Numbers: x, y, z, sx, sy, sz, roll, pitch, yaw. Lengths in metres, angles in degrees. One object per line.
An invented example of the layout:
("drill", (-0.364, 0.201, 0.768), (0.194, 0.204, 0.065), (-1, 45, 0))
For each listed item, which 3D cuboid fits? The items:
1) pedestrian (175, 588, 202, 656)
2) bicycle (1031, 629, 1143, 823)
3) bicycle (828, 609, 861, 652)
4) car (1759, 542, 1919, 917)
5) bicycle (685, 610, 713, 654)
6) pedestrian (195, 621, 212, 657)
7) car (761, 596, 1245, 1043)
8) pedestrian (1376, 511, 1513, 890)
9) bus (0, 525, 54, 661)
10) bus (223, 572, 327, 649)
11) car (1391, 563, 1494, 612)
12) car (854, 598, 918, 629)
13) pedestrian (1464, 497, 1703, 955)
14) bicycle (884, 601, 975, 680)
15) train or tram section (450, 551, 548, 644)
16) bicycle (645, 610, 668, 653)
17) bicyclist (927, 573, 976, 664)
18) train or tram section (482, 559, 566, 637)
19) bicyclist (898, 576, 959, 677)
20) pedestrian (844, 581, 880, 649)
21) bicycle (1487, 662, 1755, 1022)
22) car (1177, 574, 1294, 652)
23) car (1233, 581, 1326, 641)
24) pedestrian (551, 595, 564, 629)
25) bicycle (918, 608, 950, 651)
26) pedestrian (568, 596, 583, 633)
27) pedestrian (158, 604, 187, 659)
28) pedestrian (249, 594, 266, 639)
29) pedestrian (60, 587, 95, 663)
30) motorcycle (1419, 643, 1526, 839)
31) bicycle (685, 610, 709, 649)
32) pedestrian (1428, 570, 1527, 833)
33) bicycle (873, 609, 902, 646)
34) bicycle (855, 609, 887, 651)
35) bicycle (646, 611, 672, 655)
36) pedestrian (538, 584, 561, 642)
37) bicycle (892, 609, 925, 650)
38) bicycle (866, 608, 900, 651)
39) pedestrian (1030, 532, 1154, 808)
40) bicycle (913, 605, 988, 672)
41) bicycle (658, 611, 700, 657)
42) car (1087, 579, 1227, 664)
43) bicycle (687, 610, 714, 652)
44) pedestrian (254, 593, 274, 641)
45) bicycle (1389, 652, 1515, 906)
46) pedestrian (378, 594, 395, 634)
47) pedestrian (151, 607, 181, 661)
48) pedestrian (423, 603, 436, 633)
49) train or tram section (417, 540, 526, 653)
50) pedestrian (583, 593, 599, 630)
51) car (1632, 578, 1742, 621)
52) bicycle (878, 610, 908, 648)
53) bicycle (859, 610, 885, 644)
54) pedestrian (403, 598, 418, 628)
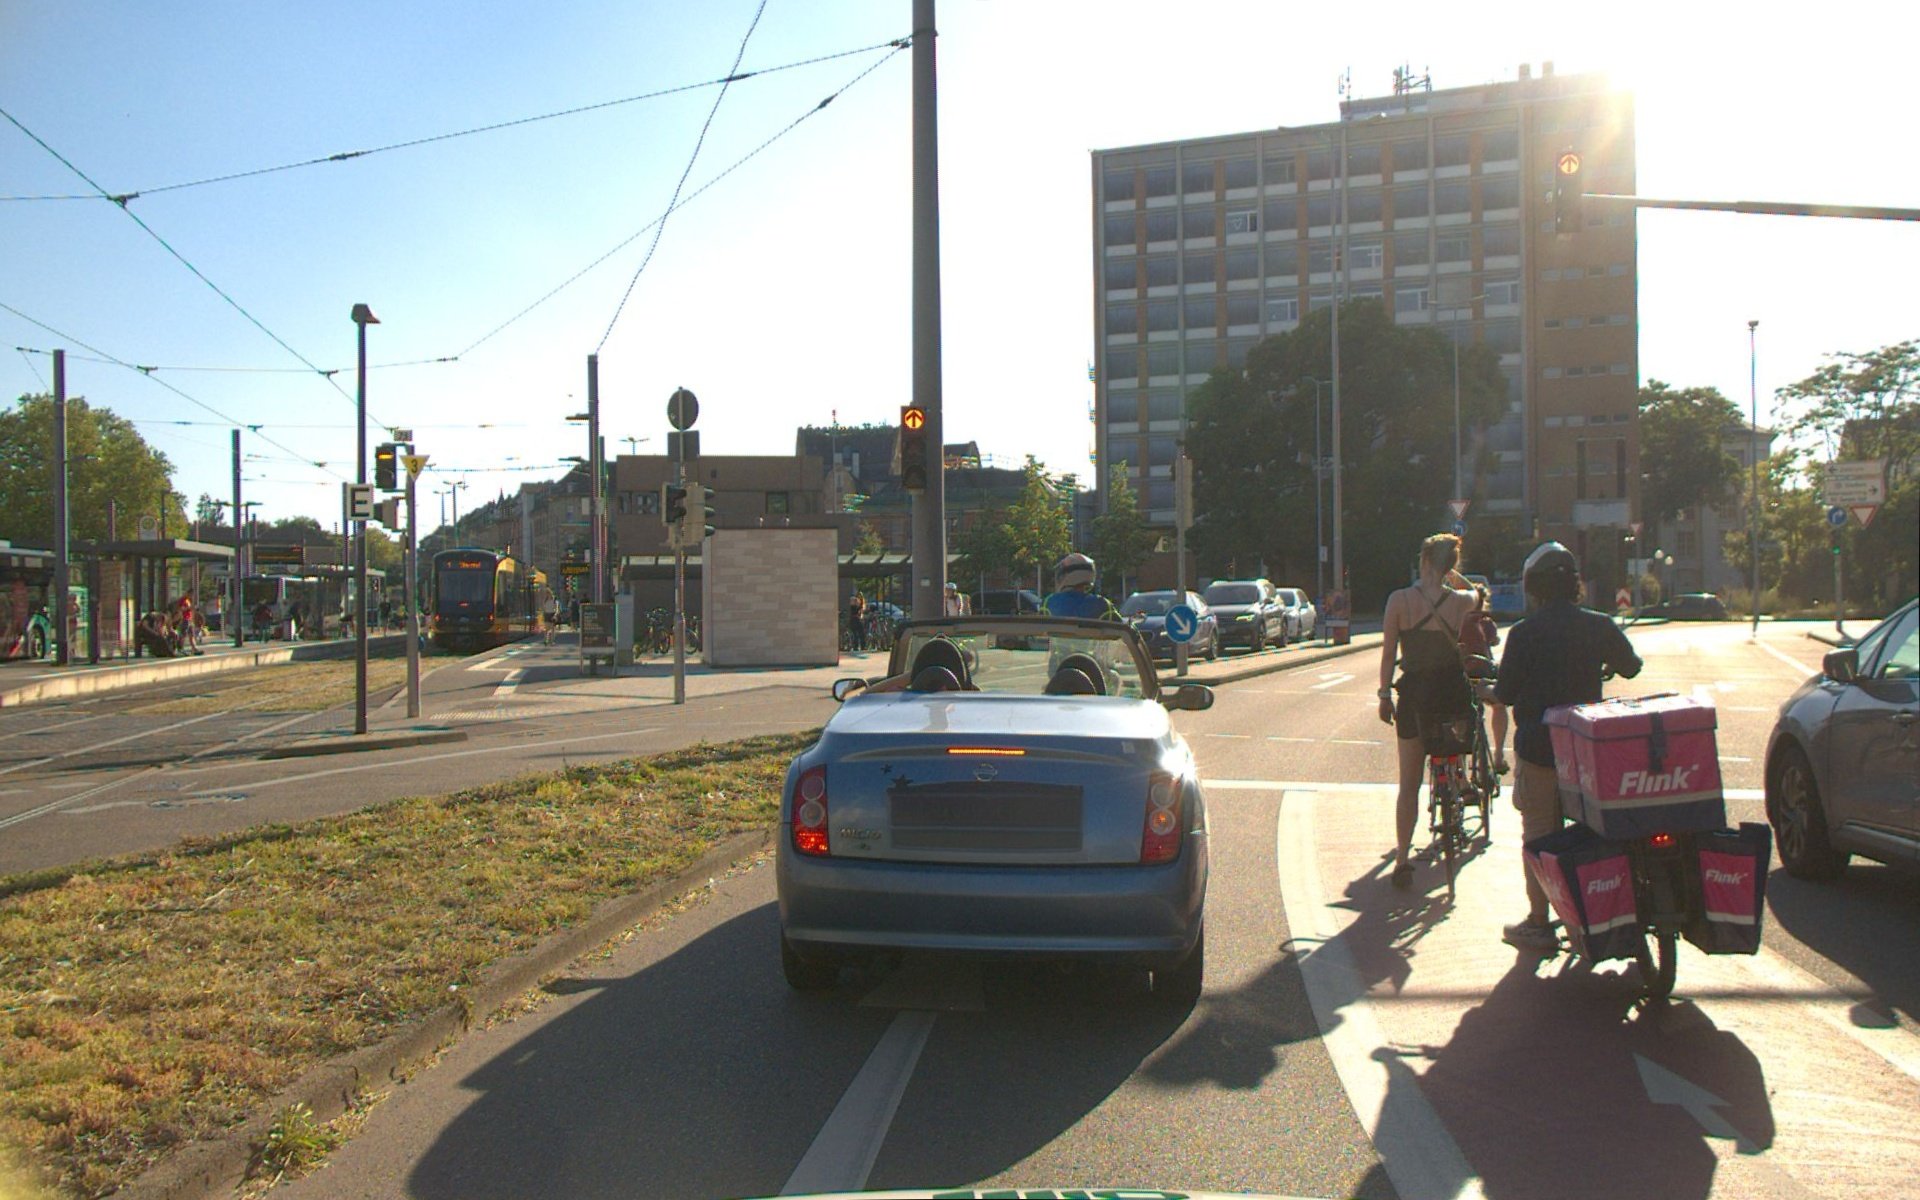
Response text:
("pedestrian", (-20.706, 0.584, 44.405), (0.561, 1.779, 0.637), (-1, 0, -17))
("bicycle", (0.953, 0.831, 11.897), (0.595, 1.212, 2.416), (1, 0, 9))
("bicycle", (-3.161, 0.825, 45.056), (0.596, 1.134, 1.890), (1, 0, -13))
("car", (5.286, 0.608, 7.398), (1.792, 1.719, 4.372), (1, 0, 8))
("bicycle", (-6.989, 0.846, 44.275), (0.596, 1.134, 1.890), (1, 0, -13))
("pedestrian", (-37.491, 1.924, 81.926), (0.627, 1.779, 0.570), (-1, 0, -13))
("car", (0.355, 0.747, 7.680), (1.625, 1.466, 4.157), (1, 0, 6))
("pedestrian", (2.560, 0.501, 8.809), (0.645, 1.901, 0.873), (1, -1, 14))
("bus", (-23.561, -0.176, 37.169), (2.606, 3.190, 9.619), (1, 0, -10))
("bus", (-32.734, 0.470, 79.553), (2.675, 3.331, 13.413), (1, 0, -14))
("car", (20.244, -0.549, 69.321), (4.663, 1.979, 1.887), (-1, 0, -41))
("car", (-3.984, 0.742, 88.610), (1.629, 1.588, 3.549), (-1, 0, -39))
("pedestrian", (2.763, 0.523, 7.425), (0.789, 1.901, 0.957), (1, -1, 8))
("bicycle", (-0.504, 0.677, 28.828), (0.660, 1.272, 2.457), (-3, -1, 21))
("train or tram section", (-19.979, -0.081, 72.361), (2.957, 3.659, 12.169), (1, 0, -10))
("bicycle", (-8.424, 0.862, 45.847), (0.596, 1.134, 1.891), (1, 0, -11))
("bicyclist", (-0.155, 0.349, 31.474), (0.694, 1.686, 0.743), (-1, 0, 21))
("train or tram section", (-22.045, -0.067, 84.256), (2.984, 3.659, 12.024), (1, 0, -10))
("bicyclist", (-0.543, 0.457, 28.760), (0.694, 1.686, 0.901), (-3, -1, 21))
("pedestrian", (-2.778, 0.420, 46.706), (0.885, 1.901, 0.685), (1, -1, -13))
("bicycle", (2.728, 0.901, 7.073), (0.542, 1.192, 2.374), (1, 0, 9))
("car", (6.704, 0.288, 39.839), (1.726, 1.736, 4.529), (-2, -1, 23))
("car", (9.013, 0.282, 46.457), (1.661, 1.588, 3.977), (-1, 0, 25))
("pedestrian", (-21.789, 0.651, 89.578), (0.593, 1.779, 0.830), (-1, 0, -8))
("bicycle", (-0.730, 0.809, 45.537), (0.595, 1.134, 1.892), (1, 0, -10))
("pedestrian", (-18.601, 0.685, 79.945), (0.628, 1.779, 0.732), (-1, 0, -19))
("pedestrian", (-20.252, 0.805, 42.547), (0.561, 1.369, 0.637), (-1, 0, -17))
("pedestrian", (-28.079, 0.658, 66.138), (0.562, 1.779, 0.636), (-1, 0, -20))
("pedestrian", (-20.971, 0.592, 39.318), (0.527, 1.779, 0.559), (-1, 0, -6))
("motorcycle", (3.419, 0.874, 11.112), (0.600, 1.117, 2.361), (1, 0, 16))
("bicycle", (-7.978, 0.895, 50.197), (0.596, 1.134, 1.890), (1, 0, -13))
("pedestrian", (3.382, 0.631, 10.850), (0.575, 1.626, 1.025), (1, -1, 16))
("bicycle", (-2.337, 0.868, 53.188), (0.596, 1.134, 1.890), (1, 0, -13))
("bicycle", (-2.558, 0.845, 47.138), (0.596, 1.134, 1.890), (1, 0, -13))
("bicycle", (-7.992, 0.861, 43.929), (0.596, 1.134, 1.890), (1, 0, -13))
("pedestrian", (-12.747, 0.412, 51.358), (0.628, 1.779, 0.569), (-1, 0, -19))
("bicycle", (-1.495, 0.832, 47.542), (0.596, 1.134, 1.890), (1, 0, -13))
("bicycle", (-2.110, 0.784, 45.214), (0.596, 1.134, 1.890), (1, 0, -13))
("pedestrian", (0.969, 0.486, 11.966), (0.815, 1.901, 0.921), (1, -1, 8))
("bicycle", (-0.155, 0.712, 31.446), (0.660, 1.201, 2.183), (-1, 0, 21))
("bicycle", (-7.183, 0.858, 42.337), (0.594, 1.134, 1.898), (1, 0, 5))
("car", (4.072, 0.426, 33.683), (1.702, 1.601, 3.921), (1, 0, 25))
("bicycle", (-7.279, 0.863, 46.334), (0.596, 1.134, 1.890), (1, 0, -13))
("pedestrian", (-26.333, 0.644, 62.592), (0.630, 1.779, 0.567), (-1, 0, -27))
("bicycle", (2.638, 0.895, 8.997), (0.552, 1.171, 1.951), (1, 0, 14))
("pedestrian", (-25.677, 0.612, 74.004), (0.630, 1.779, 0.567), (-1, 0, -27))
("pedestrian", (-20.094, 0.858, 41.867), (0.606, 1.364, 0.438), (-1, 0, -18))
("pedestrian", (-31.816, 1.064, 99.161), (0.722, 1.779, 0.637), (-1, 0, -16))
("train or tram section", (-17.645, -0.103, 60.407), (2.831, 3.659, 12.161), (1, 0, -12))
("pedestrian", (-17.988, 0.564, 80.624), (0.628, 1.779, 0.732), (-1, 0, -19))
("car", (35.127, -0.015, 79.958), (4.606, 1.979, 1.910), (-1, 0, 33))
("bicycle", (-2.087, 0.887, 51.220), (0.596, 1.134, 1.890), (1, 0, -13))
("bicycle", (-3.020, 0.912, 56.683), (0.596, 1.134, 1.890), (1, 0, -13))
("pedestrian", (-33.061, 0.767, 99.519), (0.720, 1.779, 0.638), (-1, 0, -8))
